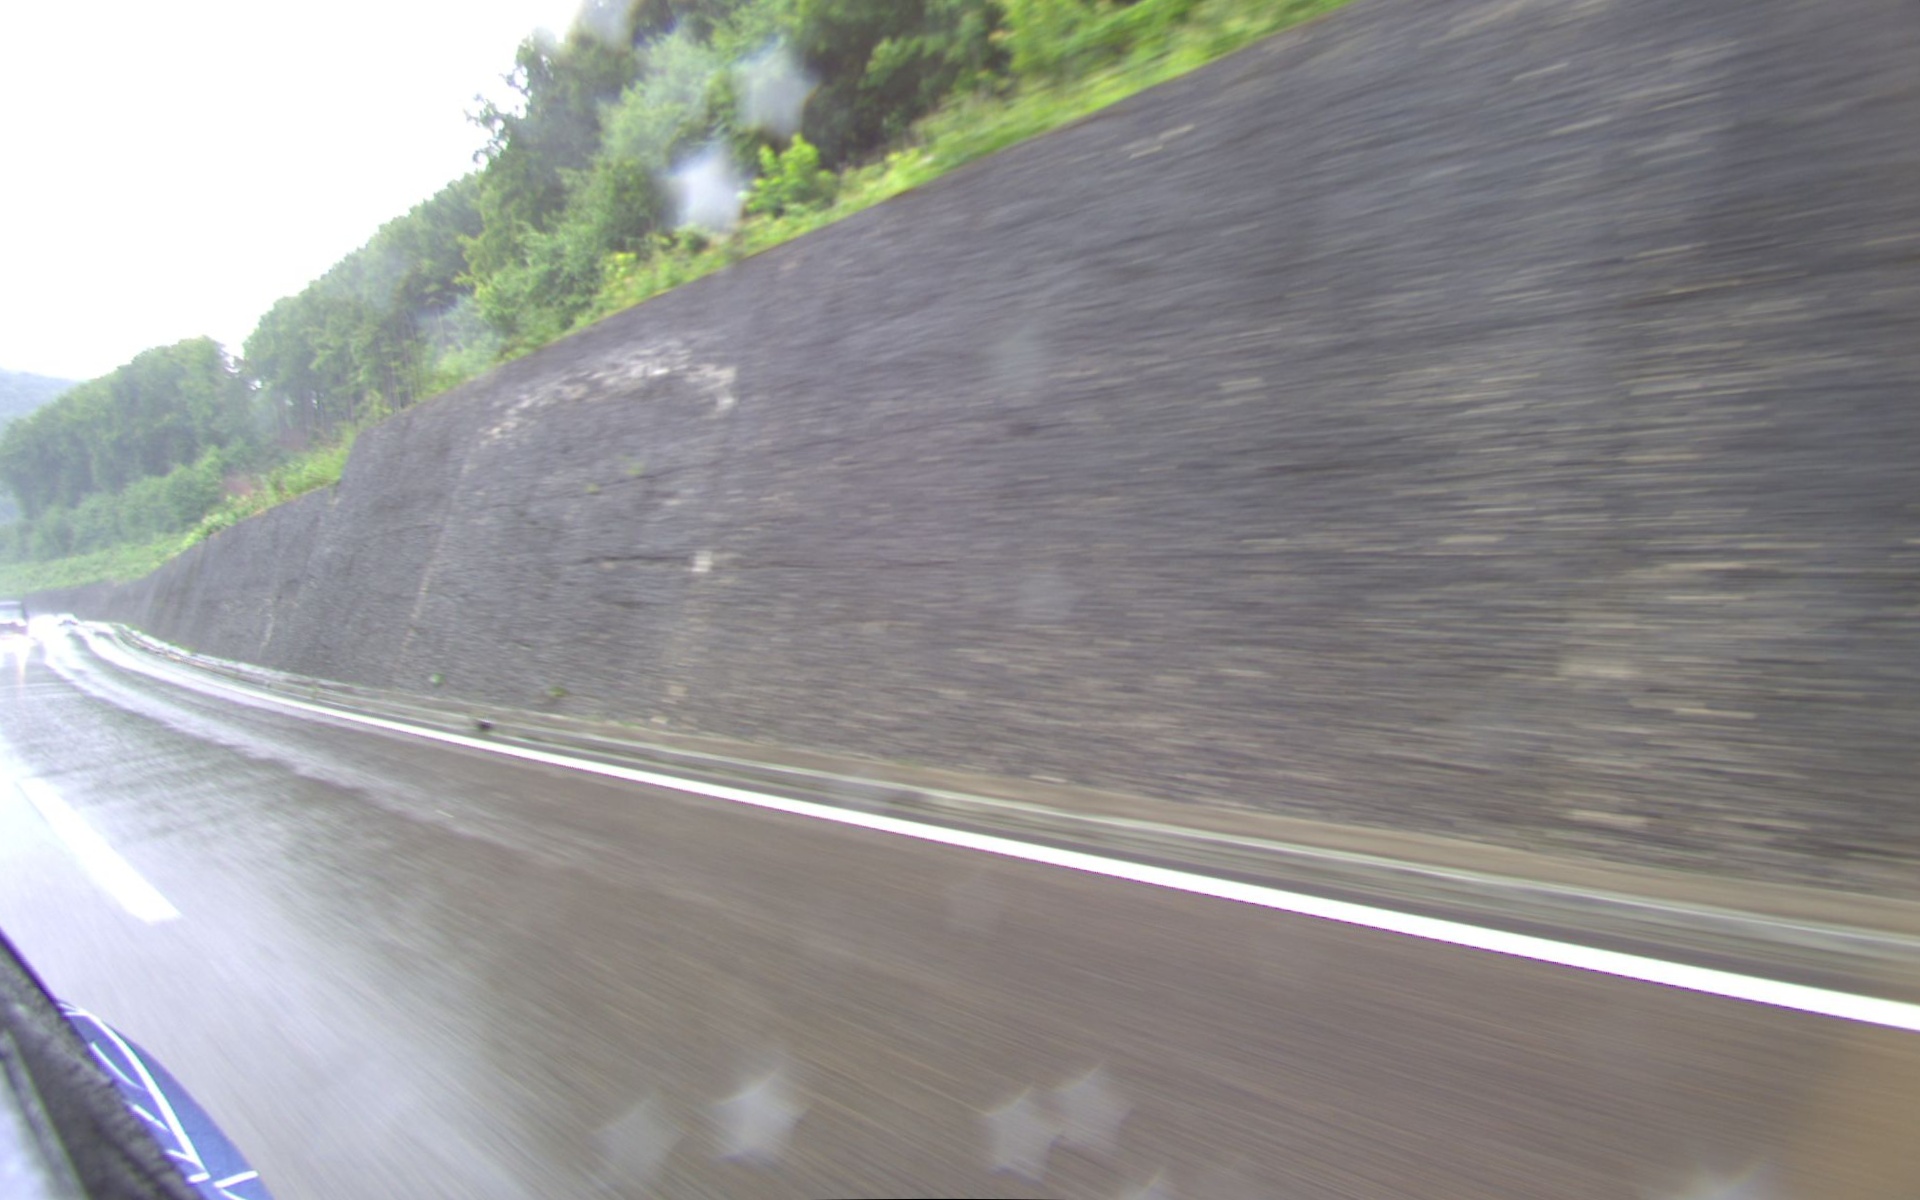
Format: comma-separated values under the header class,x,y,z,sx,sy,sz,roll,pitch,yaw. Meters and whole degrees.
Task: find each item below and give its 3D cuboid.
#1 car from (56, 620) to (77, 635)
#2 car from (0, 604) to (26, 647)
class,x,y,z,sx,sy,sz,roll,pitch,yaw
car,-106.075,3.245,120.128,1.711,1.678,3.873,-1,-1,-40
car,-70.342,1.881,74.861,1.717,3.048,4.003,-1,0,-44
